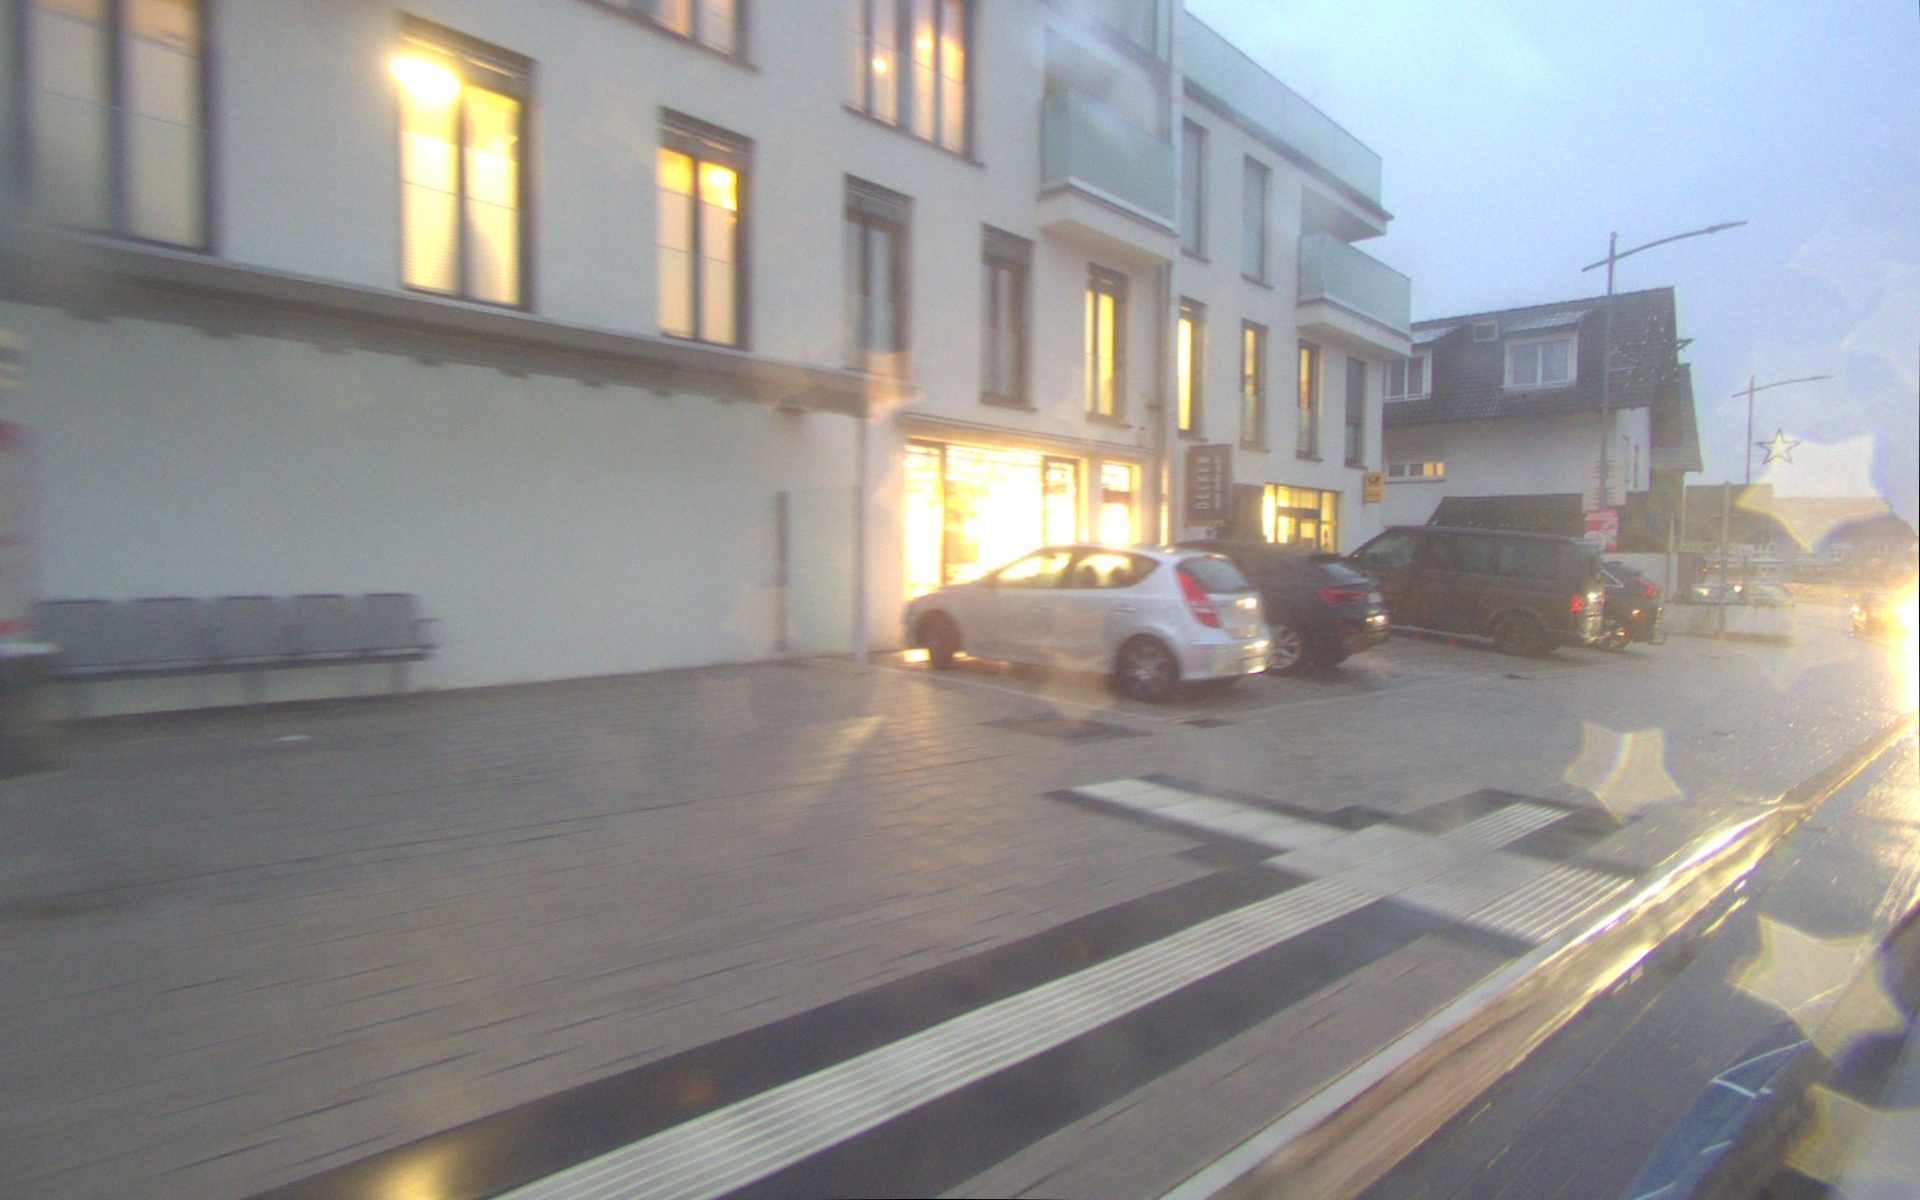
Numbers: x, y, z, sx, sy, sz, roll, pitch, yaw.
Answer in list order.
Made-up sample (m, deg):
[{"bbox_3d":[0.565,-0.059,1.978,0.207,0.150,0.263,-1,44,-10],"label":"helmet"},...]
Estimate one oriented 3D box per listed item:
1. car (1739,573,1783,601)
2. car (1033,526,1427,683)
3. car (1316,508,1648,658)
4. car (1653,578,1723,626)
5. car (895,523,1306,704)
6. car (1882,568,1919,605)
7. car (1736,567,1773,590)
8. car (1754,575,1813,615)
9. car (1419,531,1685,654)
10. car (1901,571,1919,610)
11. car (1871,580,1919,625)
[{"bbox_3d":[38.954,-0.631,49.275,1.489,1.307,3.248,3,2,36],"label":"car"},{"bbox_3d":[3.359,-0.082,13.153,4.507,1.510,1.946,7,5,41],"label":"car"},{"bbox_3d":[8.780,-0.391,17.330,4.545,1.956,1.944,10,6,44],"label":"car"},{"bbox_3d":[25.708,0.048,35.710,1.769,1.515,3.726,5,3,38],"label":"car"},{"bbox_3d":[1.396,0.009,10.855,3.980,1.521,1.789,5,4,38],"label":"car"},{"bbox_3d":[53.927,-0.792,57.006,1.982,2.038,3.961,1,2,28],"label":"car"},{"bbox_3d":[73.071,-1.984,93.115,1.982,2.038,3.961,1,2,28],"label":"car"},{"bbox_3d":[35.402,-0.247,43.495,1.841,1.606,3.714,3,2,40],"label":"car"},{"bbox_3d":[11.438,-0.234,19.704,4.134,1.653,1.732,12,8,37],"label":"car"},{"bbox_3d":[41.751,-0.378,43.024,1.770,1.642,3.913,2,2,31],"label":"car"},{"bbox_3d":[32.771,0.059,34.936,1.734,1.461,3.944,1,1,39],"label":"car"}]
